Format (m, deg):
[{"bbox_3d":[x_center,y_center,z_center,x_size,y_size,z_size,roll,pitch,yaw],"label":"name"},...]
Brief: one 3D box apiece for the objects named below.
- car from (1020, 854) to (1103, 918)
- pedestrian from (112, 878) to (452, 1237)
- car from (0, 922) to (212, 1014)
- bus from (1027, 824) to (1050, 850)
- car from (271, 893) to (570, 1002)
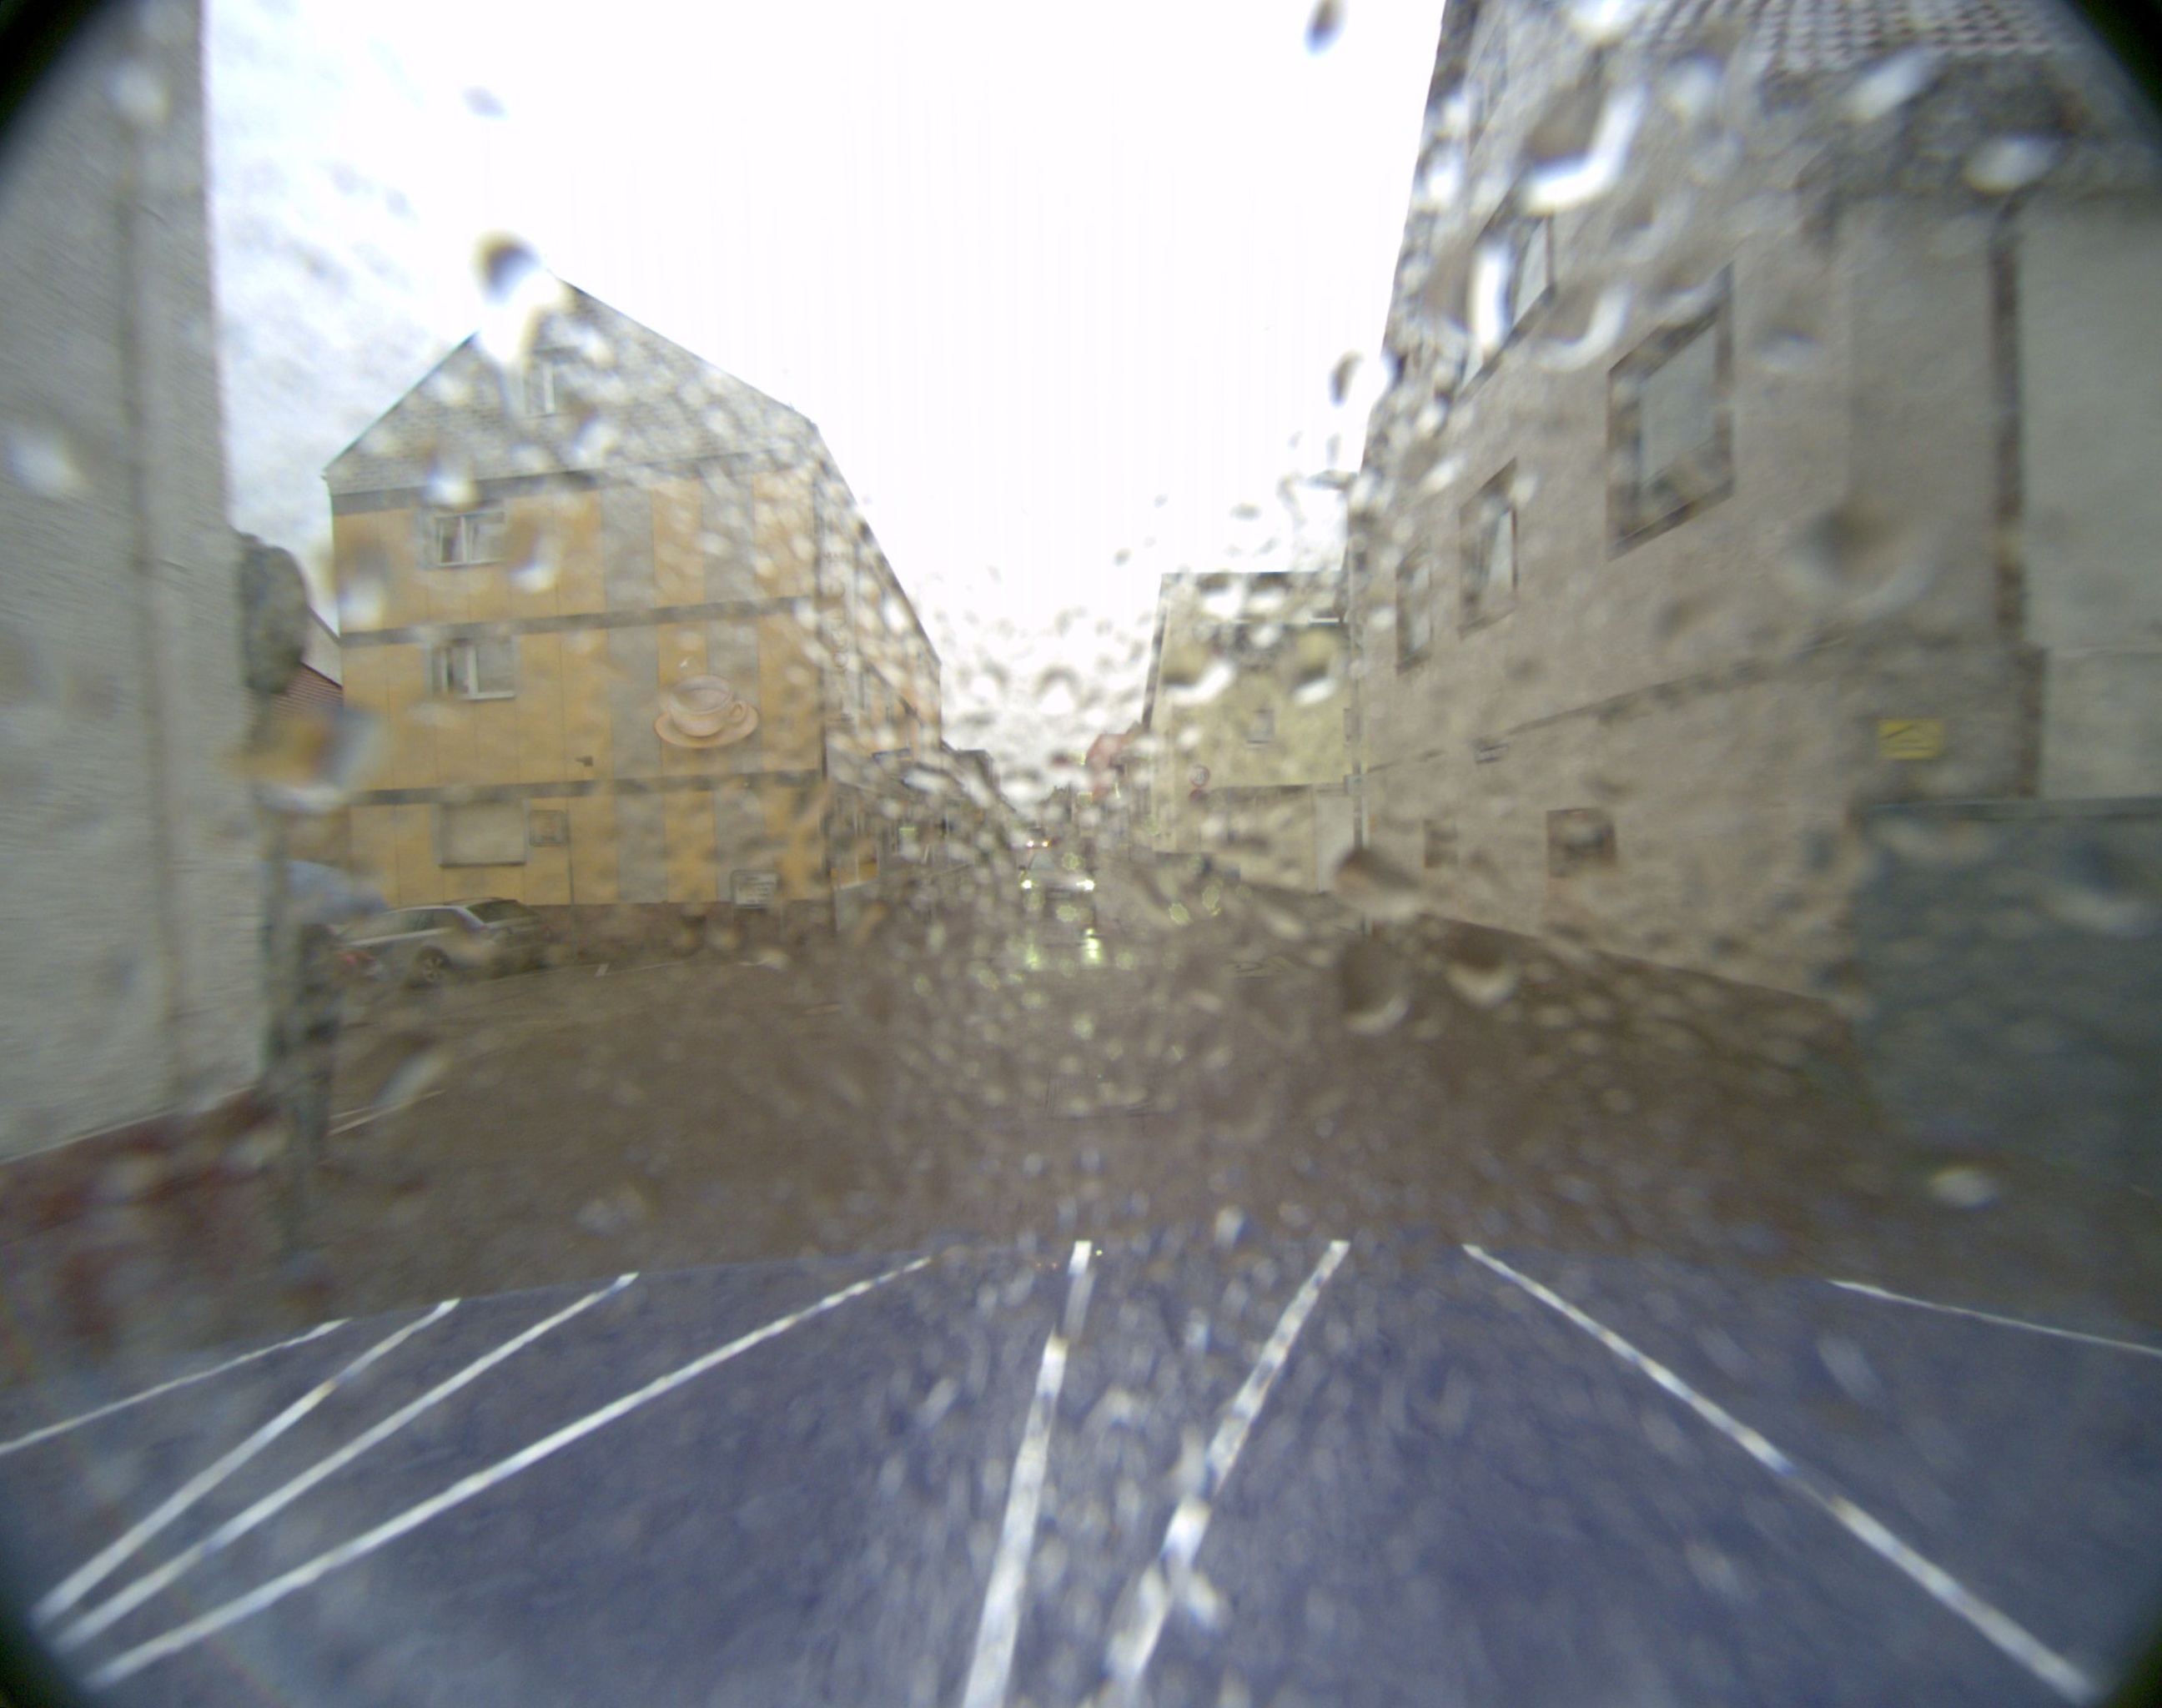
[{"bbox_3d":[-0.384,0.723,18.918,1.800,1.341,3.738,-3,0,2],"label":"car"},{"bbox_3d":[-4.399,1.023,4.271,0.810,1.726,0.998,-2,0,11],"label":"pedestrian"},{"bbox_3d":[-21.119,2.399,16.051,4.013,1.452,1.854,-4,4,14],"label":"car"},{"bbox_3d":[-6.293,-2.539,111.336,2.894,3.590,11.970,-2,2,-5],"label":"bus"},{"bbox_3d":[-12.203,1.706,14.182,4.192,1.452,1.776,-5,2,9],"label":"car"}]
